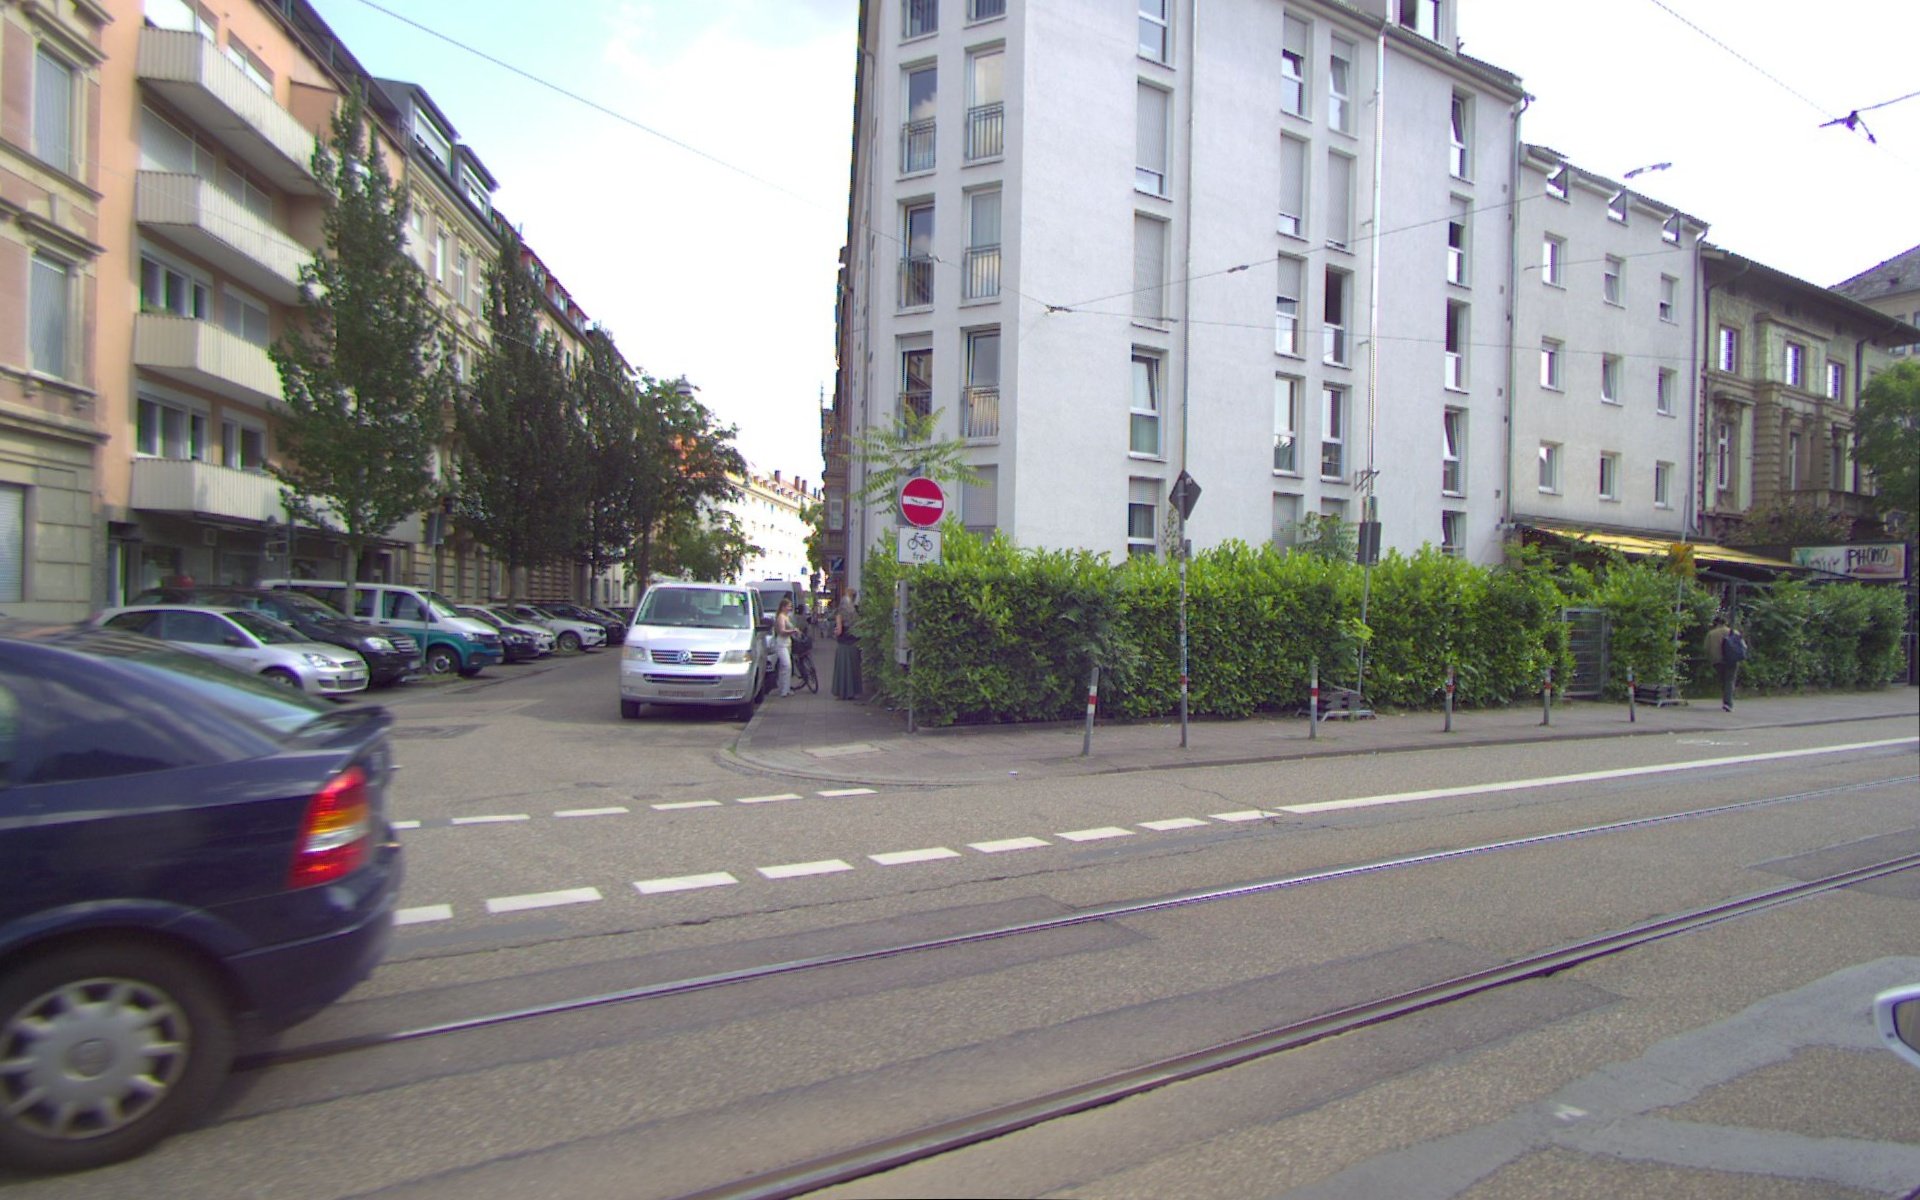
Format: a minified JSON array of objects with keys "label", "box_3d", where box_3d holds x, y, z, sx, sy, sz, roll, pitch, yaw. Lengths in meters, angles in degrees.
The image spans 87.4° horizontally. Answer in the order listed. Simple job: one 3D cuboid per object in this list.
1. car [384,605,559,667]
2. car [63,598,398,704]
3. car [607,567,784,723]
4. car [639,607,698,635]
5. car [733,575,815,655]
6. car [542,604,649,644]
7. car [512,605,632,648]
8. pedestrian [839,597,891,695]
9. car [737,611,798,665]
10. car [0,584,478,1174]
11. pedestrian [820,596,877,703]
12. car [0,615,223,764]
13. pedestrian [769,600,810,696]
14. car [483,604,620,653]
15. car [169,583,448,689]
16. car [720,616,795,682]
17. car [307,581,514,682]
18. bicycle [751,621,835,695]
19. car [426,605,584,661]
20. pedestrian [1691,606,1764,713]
[{"label":"car","box_3d":[-12.892,0.938,26.717,3.698,1.419,1.891,2,0,-7]},{"label":"car","box_3d":[-11.149,0.759,15.618,3.698,1.419,1.891,2,0,-7]},{"label":"car","box_3d":[-3.920,0.637,15.746,2.012,2.040,4.940,1,-1,-7]},{"label":"car","box_3d":[-15.410,1.118,53.186,2.769,1.384,1.274,1,0,-7]},{"label":"car","box_3d":[-6.410,0.505,35.258,2.102,2.541,5.672,1,0,-3]},{"label":"car","box_3d":[-14.597,0.953,40.383,3.698,1.419,1.674,2,0,-7]},{"label":"car","box_3d":[-14.256,0.958,37.074,3.698,1.419,1.891,2,0,-7]},{"label":"pedestrian","box_3d":[-1.701,0.815,17.960,0.772,1.721,0.633,1,0,-18]},{"label":"car","box_3d":[-5.699,1.079,29.830,1.629,1.434,3.992,1,0,-10]},{"label":"car","box_3d":[-3.585,0.649,2.625,4.080,1.426,1.620,1,0,-30]},{"label":"pedestrian","box_3d":[-1.845,0.809,16.623,0.775,1.721,0.479,1,0,-30]},{"label":"car","box_3d":[-11.076,0.867,10.768,4.866,1.383,1.893,1,0,-2]},{"label":"pedestrian","box_3d":[-2.962,0.825,17.483,0.523,1.631,0.539,1,0,-30]},{"label":"car","box_3d":[-13.308,0.926,32.911,3.698,1.419,1.891,2,0,-7]},{"label":"car","box_3d":[-11.560,0.630,18.069,3.698,1.729,1.891,1,0,-7]},{"label":"car","box_3d":[-4.964,1.143,24.857,1.629,1.434,3.992,1,0,-10]},{"label":"car","box_3d":[-11.823,0.672,21.805,3.519,2.022,1.703,1,0,-7]},{"label":"bicycle","box_3d":[-3.135,1.041,18.680,0.566,1.240,2.167,1,0,-37]},{"label":"car","box_3d":[-13.090,0.932,29.102,3.698,1.419,1.891,2,0,-7]},{"label":"pedestrian","box_3d":[14.602,1.102,19.127,1.046,1.943,0.826,1,0,38]}]
